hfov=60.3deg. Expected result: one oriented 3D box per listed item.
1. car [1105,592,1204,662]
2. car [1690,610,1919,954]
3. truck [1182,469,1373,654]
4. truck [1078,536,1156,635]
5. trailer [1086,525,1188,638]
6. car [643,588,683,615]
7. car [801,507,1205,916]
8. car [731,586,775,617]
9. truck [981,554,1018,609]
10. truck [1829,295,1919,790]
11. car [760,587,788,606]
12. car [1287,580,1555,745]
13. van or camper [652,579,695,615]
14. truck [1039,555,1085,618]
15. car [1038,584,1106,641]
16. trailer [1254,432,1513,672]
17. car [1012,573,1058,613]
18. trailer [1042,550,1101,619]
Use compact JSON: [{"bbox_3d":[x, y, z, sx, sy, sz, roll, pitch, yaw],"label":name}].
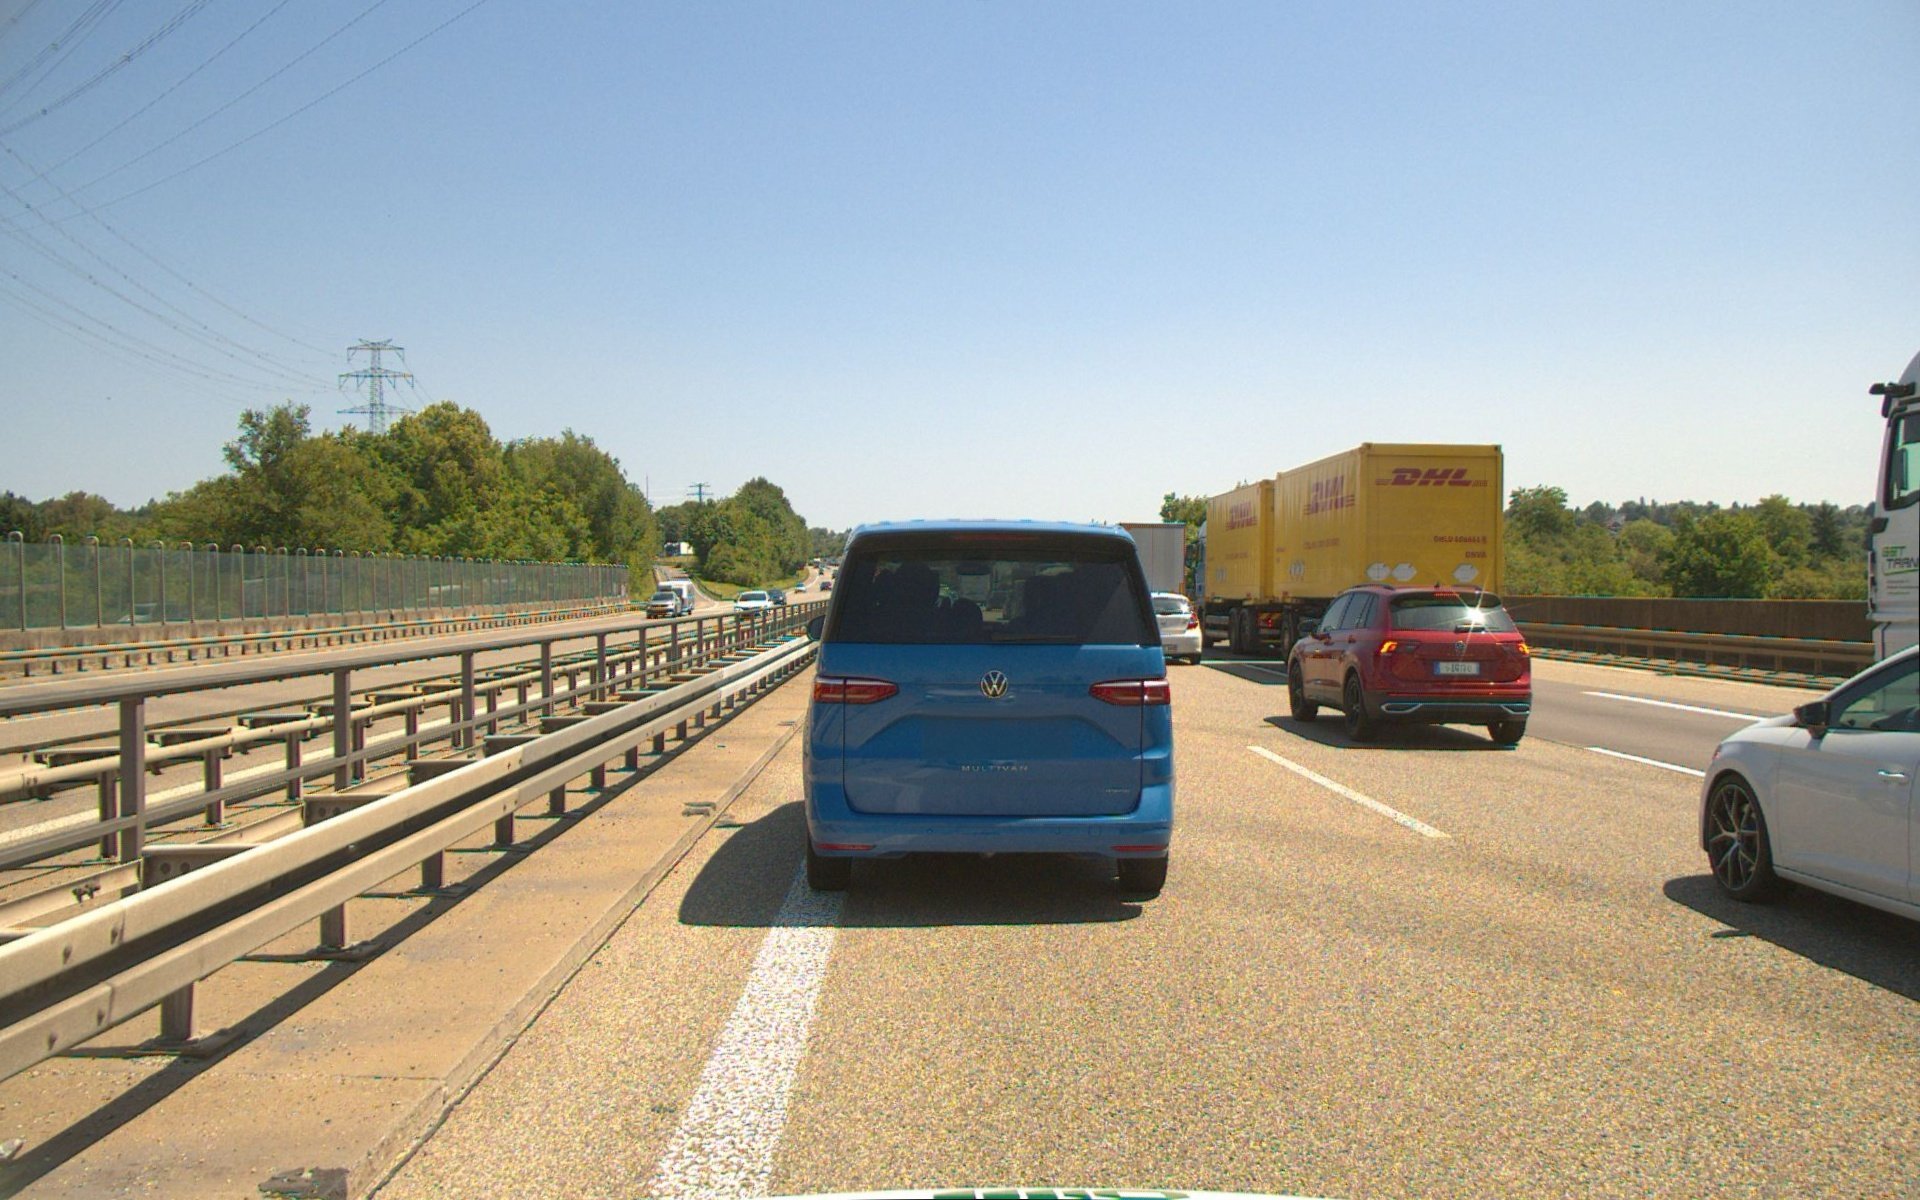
[{"bbox_3d":[4.205,0.553,36.186,1.800,1.438,4.001,0,0,2],"label":"car"},{"bbox_3d":[4.879,0.776,6.854,1.745,1.411,4.186,0,0,-2],"label":"car"},{"bbox_3d":[7.888,-0.850,42.603,2.667,4.125,10.333,1,0,-1],"label":"truck"},{"bbox_3d":[6.954,-0.626,74.151,2.712,4.167,6.982,1,0,-1],"label":"truck"},{"bbox_3d":[7.084,-0.672,67.656,2.699,4.219,11.309,1,0,-1],"label":"trailer"},{"bbox_3d":[-18.702,0.076,104.225,1.819,1.572,4.199,-3,0,-2],"label":"car"},{"bbox_3d":[0.162,0.503,9.579,1.844,1.869,3.999,0,0,-1],"label":"car"},{"bbox_3d":[-10.370,0.082,83.178,1.722,1.474,4.285,-2,0,-2],"label":"car"},{"bbox_3d":[3.820,-1.751,162.611,2.777,5.128,11.140,1,0,-3],"label":"truck"},{"bbox_3d":[8.636,-0.368,8.061,2.793,3.665,10.765,1,0,-2],"label":"truck"},{"bbox_3d":[-15.533,-0.316,138.264,1.818,1.421,4.675,0,2,-1],"label":"car"},{"bbox_3d":[5.000,0.607,18.504,1.813,1.636,3.999,0,0,-1],"label":"car"},{"bbox_3d":[-18.844,-0.173,109.119,1.953,2.250,5.535,-3,0,-2],"label":"van or camper"},{"bbox_3d":[6.329,-0.823,103.360,2.320,3.787,6.031,1,0,-2],"label":"truck"},{"bbox_3d":[3.318,0.389,49.547,1.680,1.614,3.820,0,-1,-1],"label":"car"},{"bbox_3d":[8.101,-0.803,32.954,2.647,4.094,8.928,1,0,-1],"label":"trailer"},{"bbox_3d":[3.139,-0.276,69.977,1.680,1.567,3.819,0,-2,-1],"label":"car"},{"bbox_3d":[6.502,-0.860,97.737,2.331,3.809,11.184,1,0,-2],"label":"trailer"}]
